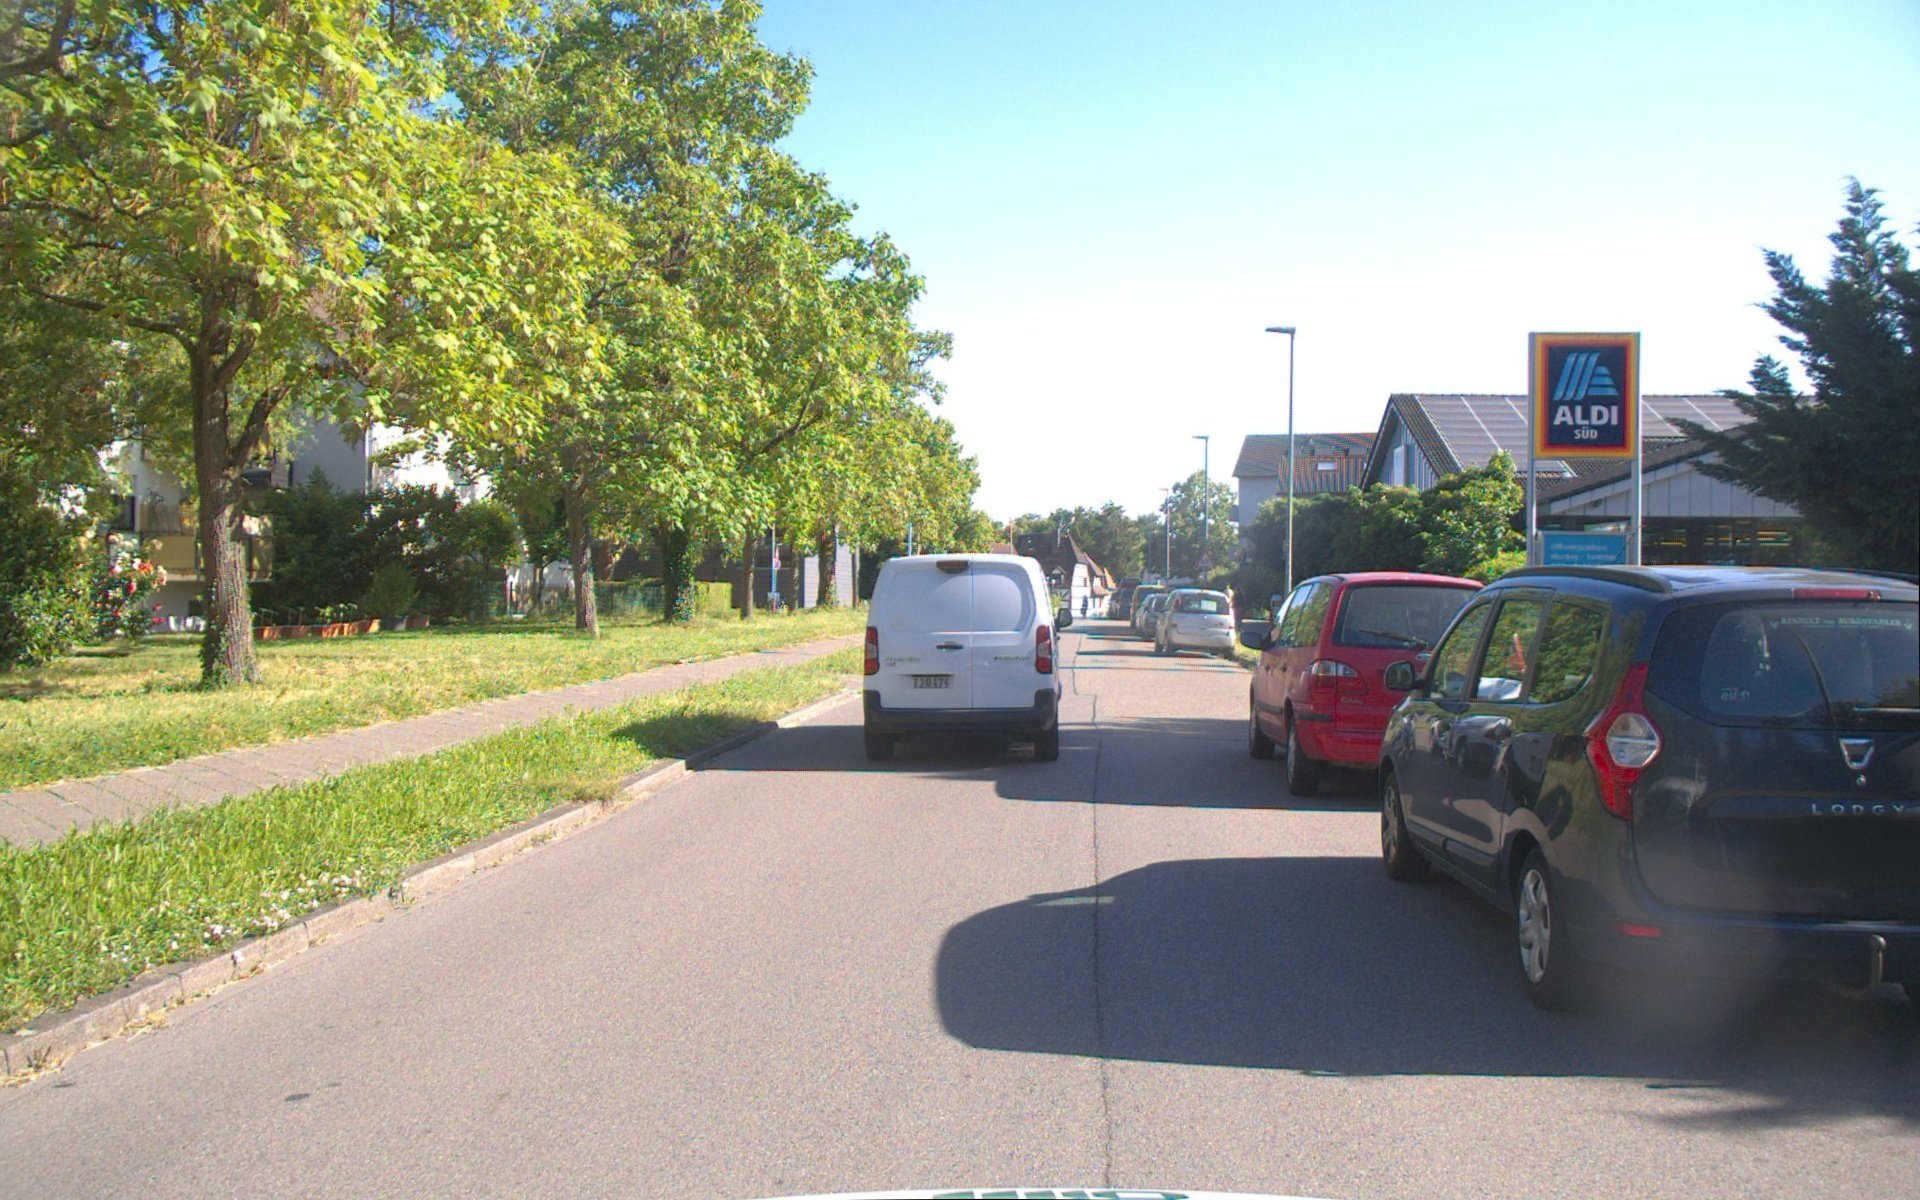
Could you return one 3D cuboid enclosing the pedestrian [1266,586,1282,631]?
[{"bbox_3d":[11.727,0.313,61.816,0.555,1.665,0.547,0,0,10],"label":"pedestrian"}]

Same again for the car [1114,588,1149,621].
[{"bbox_3d":[9.955,0.300,96.313,1.766,1.816,4.001,3,-1,3],"label":"car"}]

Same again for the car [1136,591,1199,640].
[{"bbox_3d":[6.535,0.456,52.362,1.769,1.468,4.366,1,0,5],"label":"car"}]

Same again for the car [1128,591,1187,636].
[{"bbox_3d":[6.905,0.468,58.063,1.788,1.477,4.002,1,0,3],"label":"car"}]

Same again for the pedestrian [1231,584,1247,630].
[{"bbox_3d":[9.962,0.246,59.119,0.555,1.665,0.547,0,0,10],"label":"pedestrian"}]

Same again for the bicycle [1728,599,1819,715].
[{"bbox_3d":[9.221,0.632,18.808,0.705,1.242,1.896,-2,-1,20],"label":"bicycle"}]

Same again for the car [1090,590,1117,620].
[{"bbox_3d":[10.595,0.383,122.623,1.766,2.105,4.001,3,-1,3],"label":"car"}]

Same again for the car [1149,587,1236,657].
[{"bbox_3d":[5.701,0.525,40.914,1.645,1.627,4.028,1,0,1],"label":"car"}]

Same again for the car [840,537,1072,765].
[{"bbox_3d":[0.105,0.411,16.137,1.951,1.914,4.291,0,0,4],"label":"car"}]

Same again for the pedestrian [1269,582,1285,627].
[{"bbox_3d":[11.821,0.182,61.756,0.555,1.665,0.547,0,0,10],"label":"pedestrian"}]

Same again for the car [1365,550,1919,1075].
[{"bbox_3d":[3.074,0.668,7.508,1.688,1.685,4.355,0,0,4],"label":"car"}]

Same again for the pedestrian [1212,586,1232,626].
[{"bbox_3d":[12.426,0.268,78.522,0.778,1.894,0.874,1,0,-3],"label":"pedestrian"}]

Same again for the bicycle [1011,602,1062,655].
[{"bbox_3d":[1.715,0.630,37.455,0.772,1.158,2.276,0,0,-7],"label":"bicycle"}]

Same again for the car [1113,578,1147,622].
[{"bbox_3d":[10.617,0.005,103.564,1.827,2.607,4.769,3,-1,3],"label":"car"}]

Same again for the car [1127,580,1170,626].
[{"bbox_3d":[7.920,0.116,69.755,1.688,1.869,4.002,1,0,5],"label":"car"}]

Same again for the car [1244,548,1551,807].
[{"bbox_3d":[3.524,0.534,14.171,1.801,1.837,4.656,0,0,5],"label":"car"}]

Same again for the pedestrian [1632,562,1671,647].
[{"bbox_3d":[13.652,0.079,32.657,0.678,1.660,0.776,0,0,25],"label":"pedestrian"}]

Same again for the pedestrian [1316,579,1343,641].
[{"bbox_3d":[11.015,0.287,49.309,0.781,1.813,0.809,0,0,12],"label":"pedestrian"}]

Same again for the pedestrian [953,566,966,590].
[{"bbox_3d":[-0.020,-1.312,98.613,0.501,1.471,0.636,0,0,37],"label":"pedestrian"}]

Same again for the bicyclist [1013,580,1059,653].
[{"bbox_3d":[1.715,0.374,37.492,0.888,1.612,0.965,1,-1,-7],"label":"bicyclist"}]
